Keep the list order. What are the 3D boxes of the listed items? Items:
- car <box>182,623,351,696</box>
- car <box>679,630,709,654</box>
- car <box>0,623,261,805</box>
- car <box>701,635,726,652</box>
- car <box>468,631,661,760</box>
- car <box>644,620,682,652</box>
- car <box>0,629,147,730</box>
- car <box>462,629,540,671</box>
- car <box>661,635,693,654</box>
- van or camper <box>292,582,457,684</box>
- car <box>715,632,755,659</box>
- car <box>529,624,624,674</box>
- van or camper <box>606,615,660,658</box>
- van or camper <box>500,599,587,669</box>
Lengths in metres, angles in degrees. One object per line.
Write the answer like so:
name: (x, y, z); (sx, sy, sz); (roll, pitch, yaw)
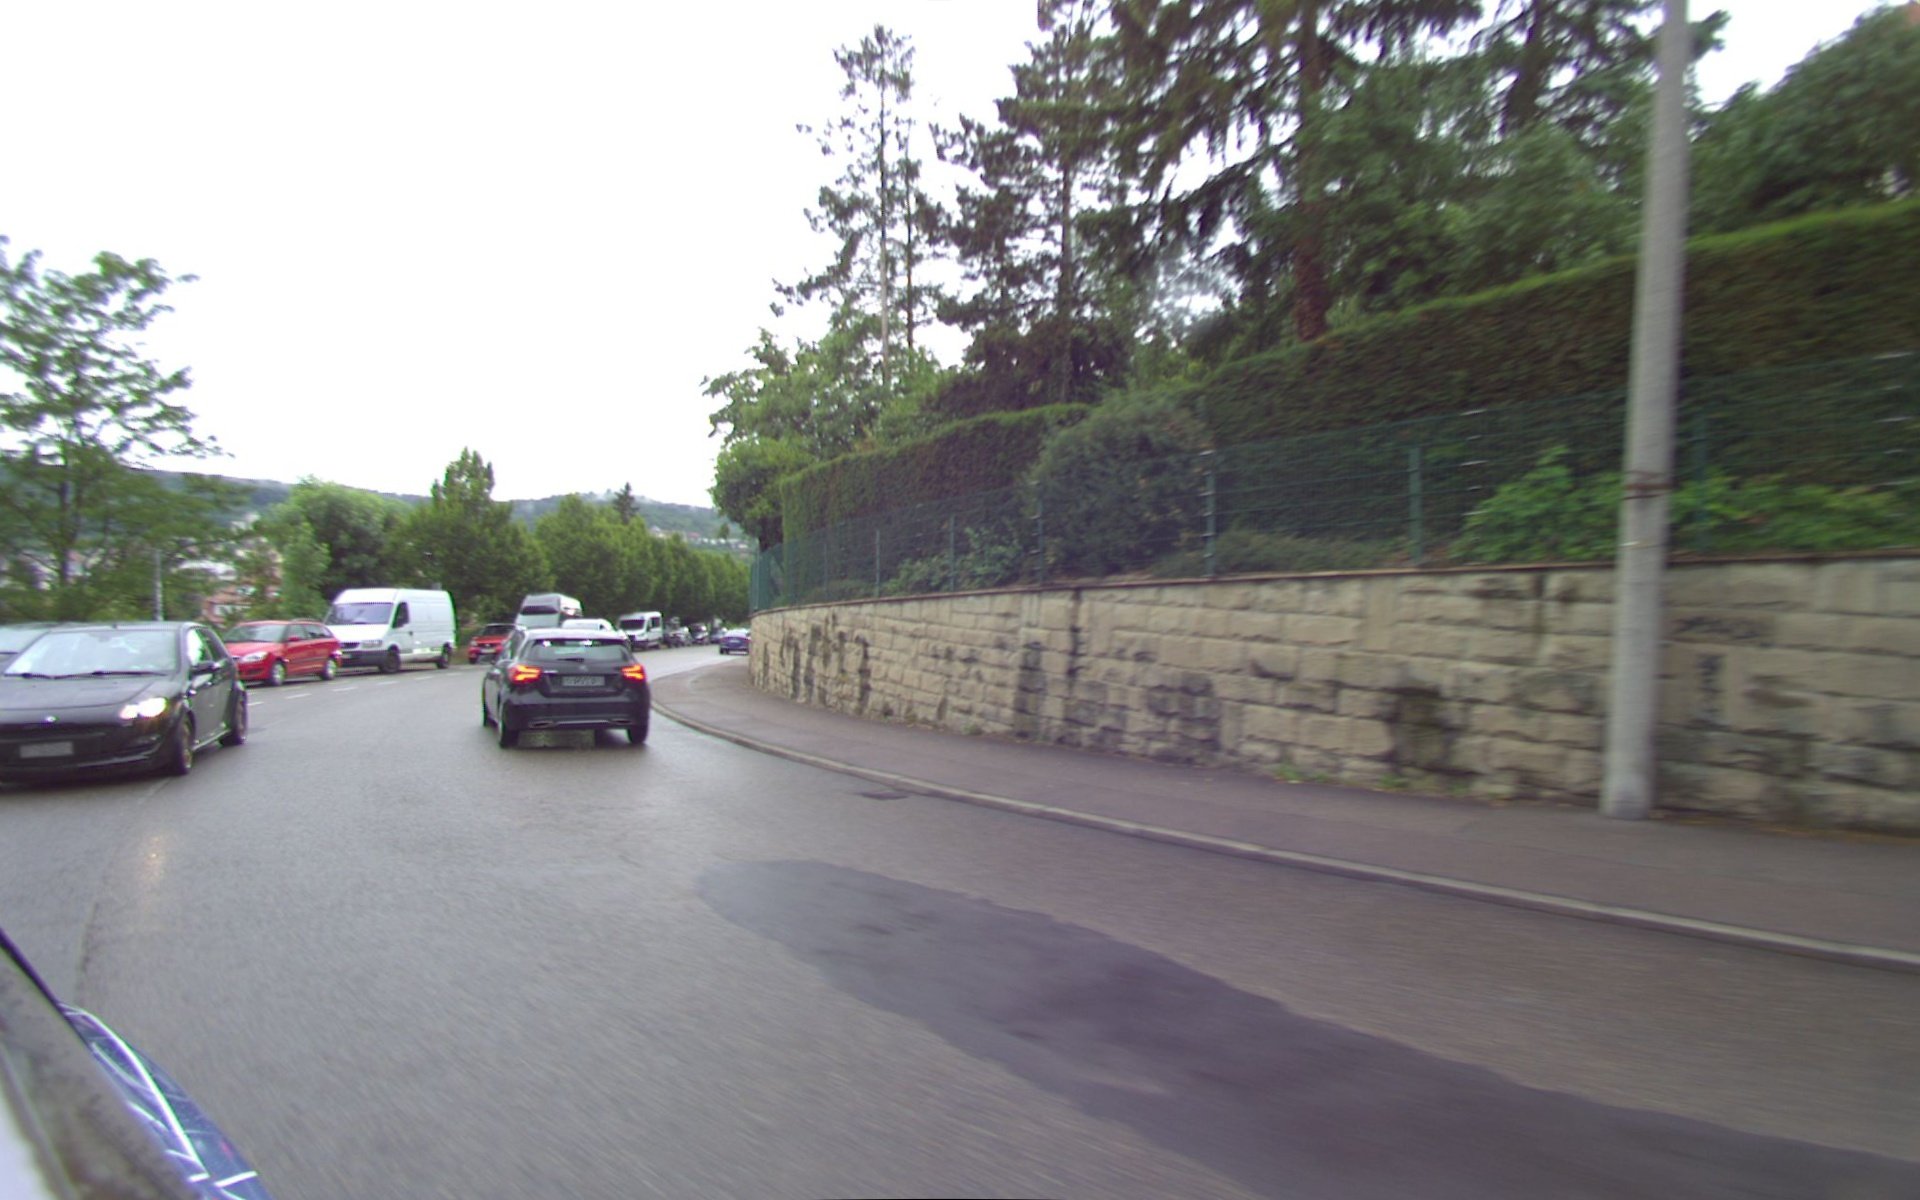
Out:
car: (-16.235, 1.355, 23.950); (1.600, 1.552, 4.222); (0, -2, -8)
car: (-22.328, 3.515, 85.106); (1.700, 1.869, 4.407); (-2, -2, -5)
car: (-8.730, 1.007, 10.419); (1.754, 1.497, 4.420); (0, -2, -25)
car: (-23.311, 4.105, 95.822); (1.700, 1.515, 4.205); (-2, -2, -5)
car: (-5.428, 1.148, 13.573); (1.762, 1.445, 4.127); (2, -2, -30)
car: (-21.266, 2.614, 72.611); (1.700, 2.155, 4.407); (-2, -2, -5)
car: (-15.198, 1.244, 16.422); (1.672, 1.455, 3.958); (-1, -2, -15)
car: (-17.925, 1.940, 39.710); (1.661, 1.552, 3.838); (0, -2, -6)
car: (-22.381, 3.497, 80.181); (1.700, 1.446, 4.329); (-2, -2, -5)
van or camper: (-16.939, 0.978, 29.690); (2.048, 2.681, 5.602); (-1, -2, -6)
car: (-13.002, 2.637, 58.620); (1.785, 1.441, 4.260); (2, -2, -7)
car: (-14.473, 1.783, 38.478); (2.159, 1.721, 4.888); (0, -1, -5)
van or camper: (-20.708, 2.338, 64.357); (2.138, 2.575, 5.623); (-2, -2, -6)
van or camper: (-18.681, 1.549, 45.712); (2.098, 2.932, 5.734); (-1, -2, -6)
